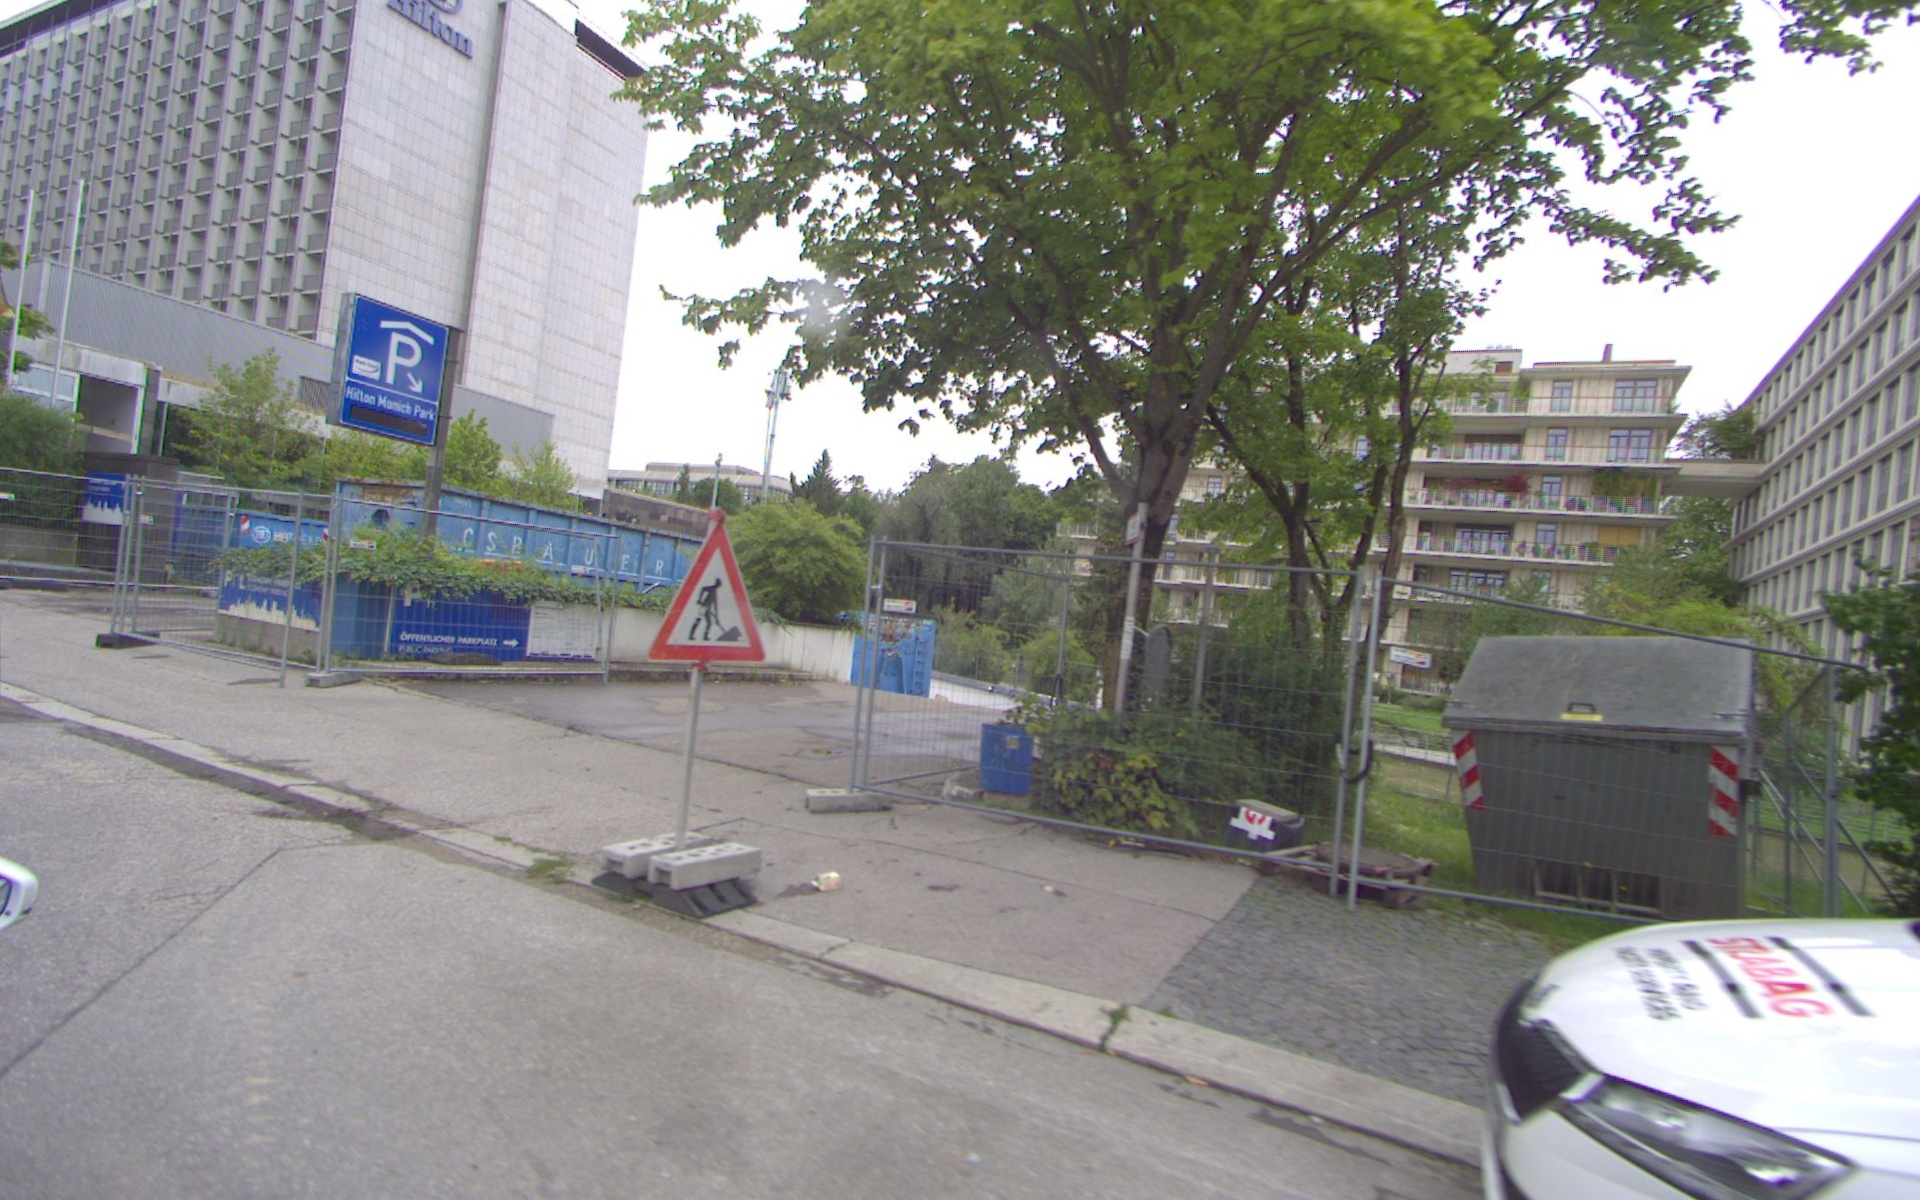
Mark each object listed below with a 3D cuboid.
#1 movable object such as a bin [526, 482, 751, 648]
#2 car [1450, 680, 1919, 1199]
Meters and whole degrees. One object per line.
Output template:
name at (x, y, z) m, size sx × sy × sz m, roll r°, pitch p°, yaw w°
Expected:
movable object such as a bin at (-8.833, -0.823, 28.880) m, size 3.819 × 3.728 × 7.177 m, roll 7°, pitch -1°, yaw 0°
car at (3.138, 1.121, 1.731) m, size 3.989 × 1.510 × 1.536 m, roll 5°, pitch -1°, yaw 26°
